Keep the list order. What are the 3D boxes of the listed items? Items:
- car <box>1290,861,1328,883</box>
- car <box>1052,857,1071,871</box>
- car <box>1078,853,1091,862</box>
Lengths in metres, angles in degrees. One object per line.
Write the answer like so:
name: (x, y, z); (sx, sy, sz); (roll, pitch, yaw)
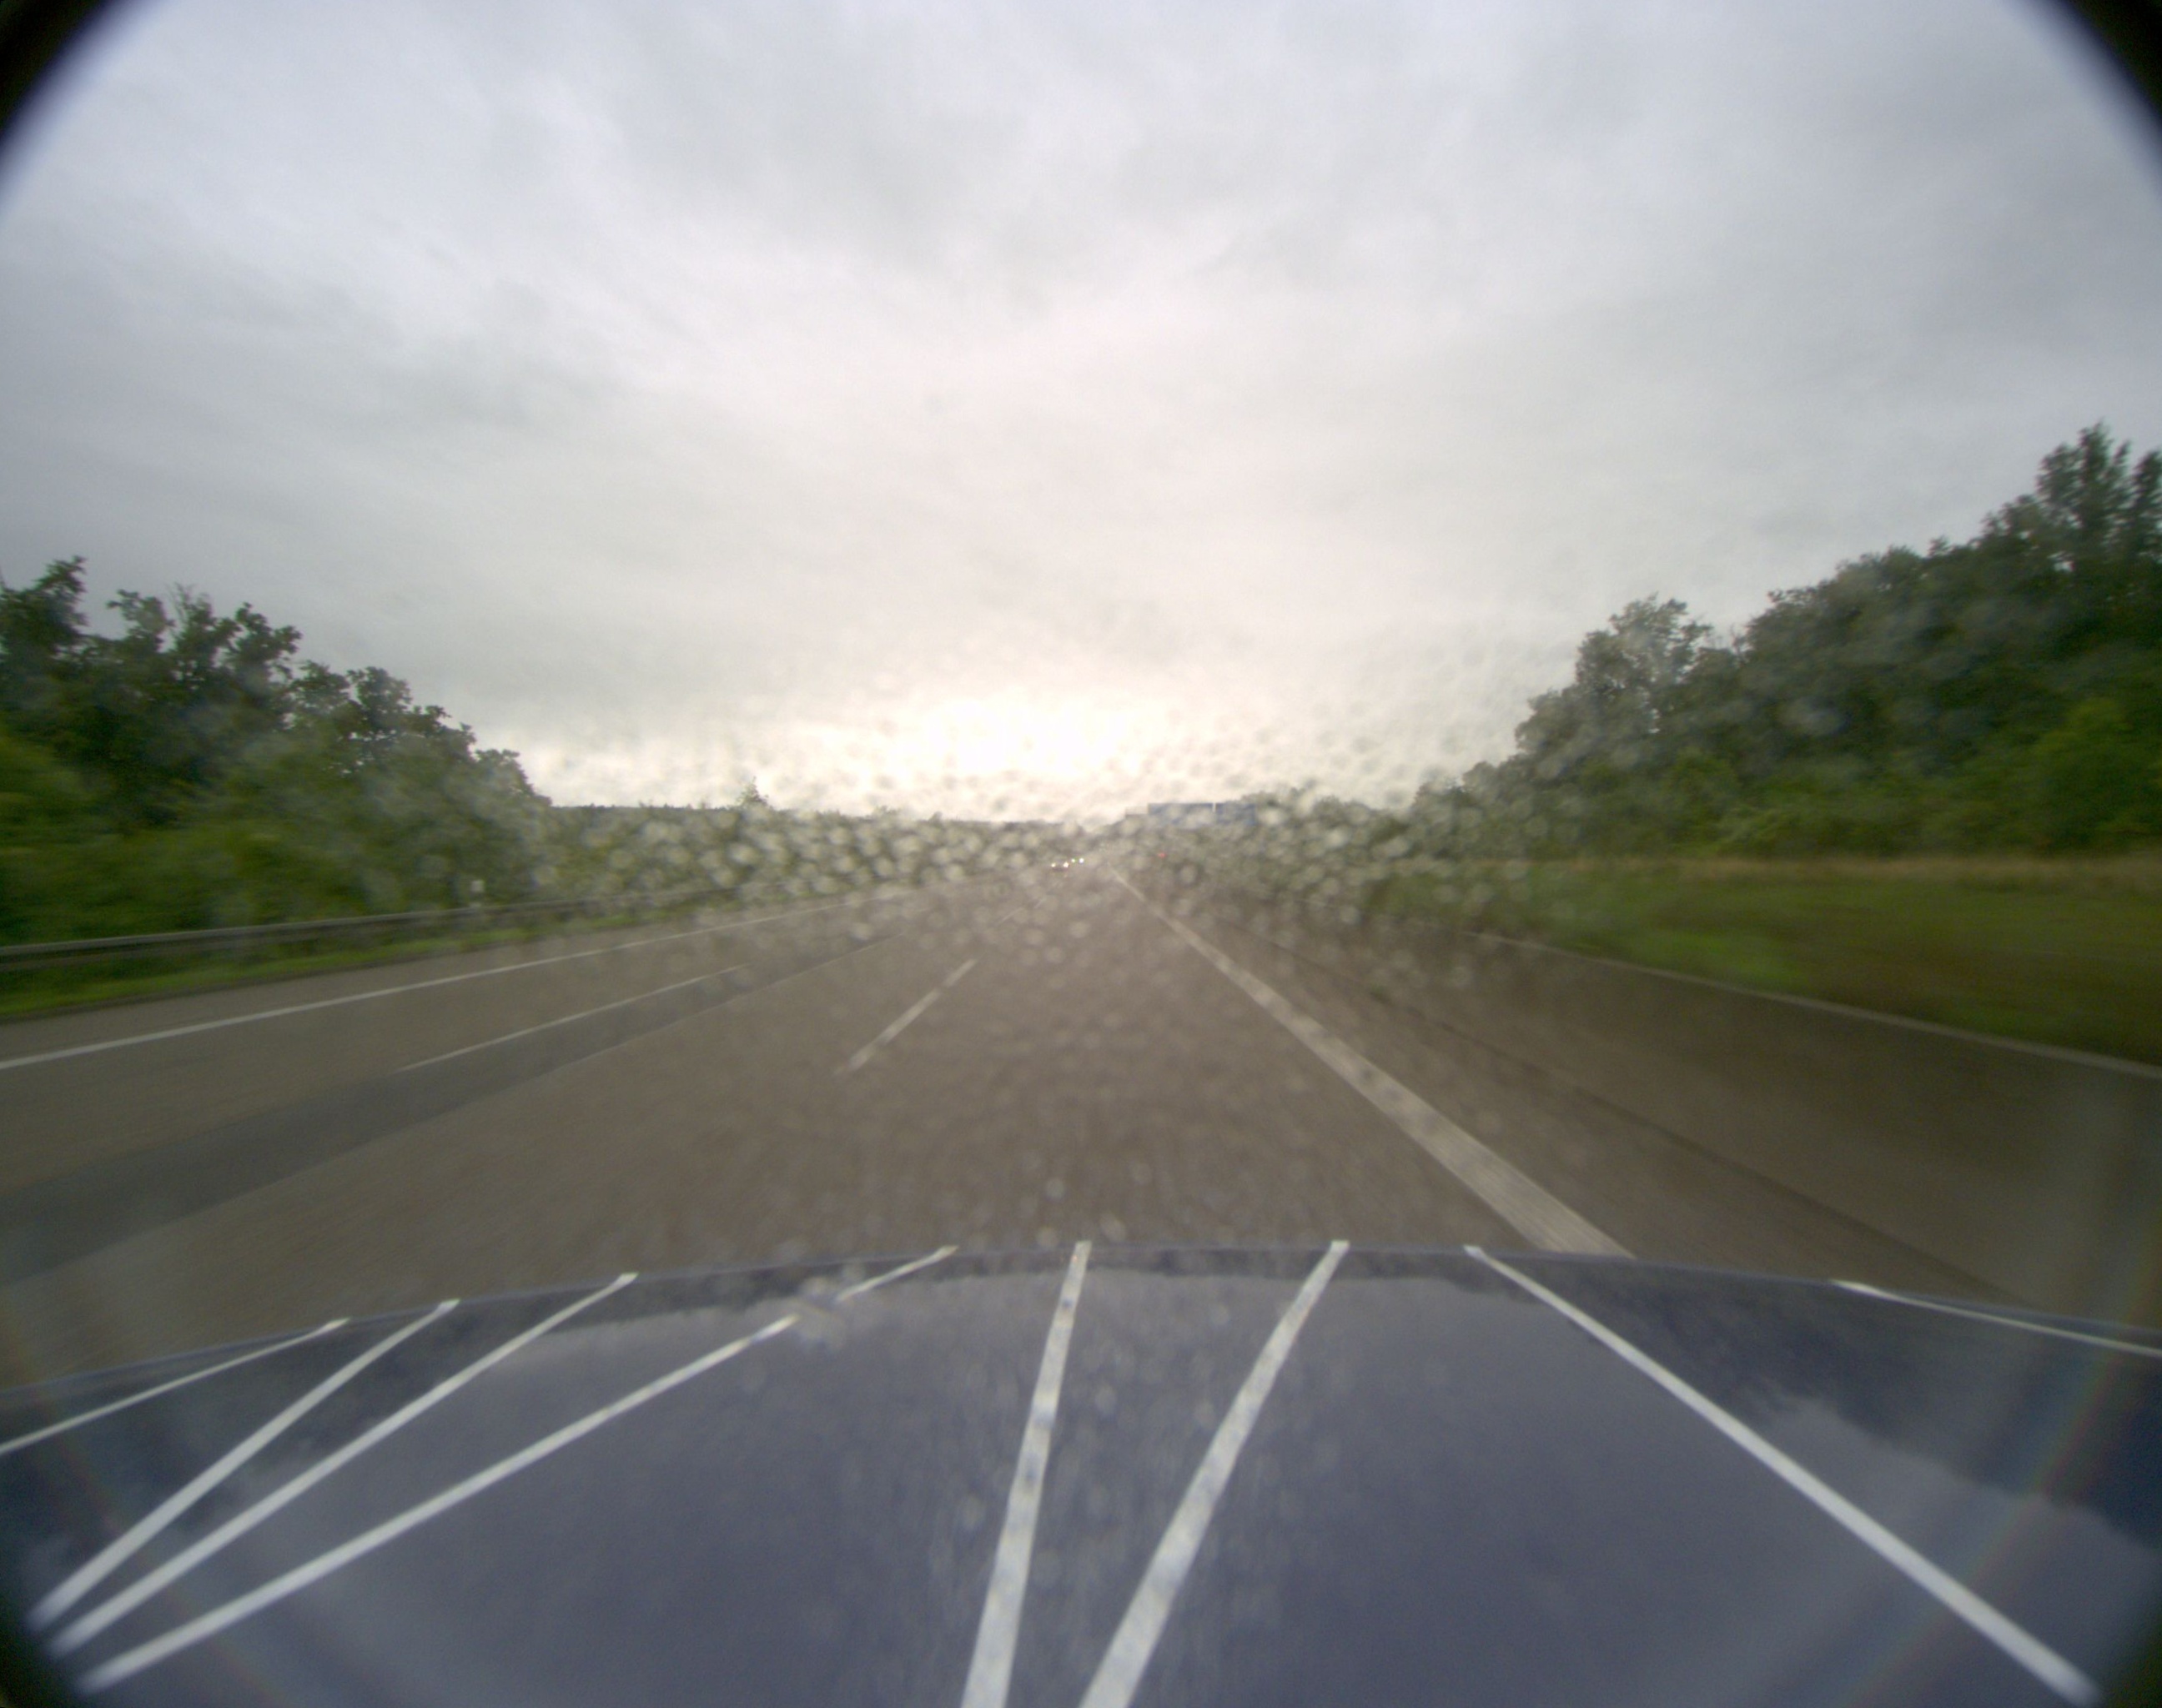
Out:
car: (16.288, 1.265, 54.395); (1.664, 1.477, 3.476); (0, 0, 1)
car: (-2.111, 1.090, 84.657); (1.932, 1.521, 4.297); (0, 0, 1)
car: (0.673, 0.662, 139.534); (2.008, 1.456, 4.001); (0, 1, 5)
